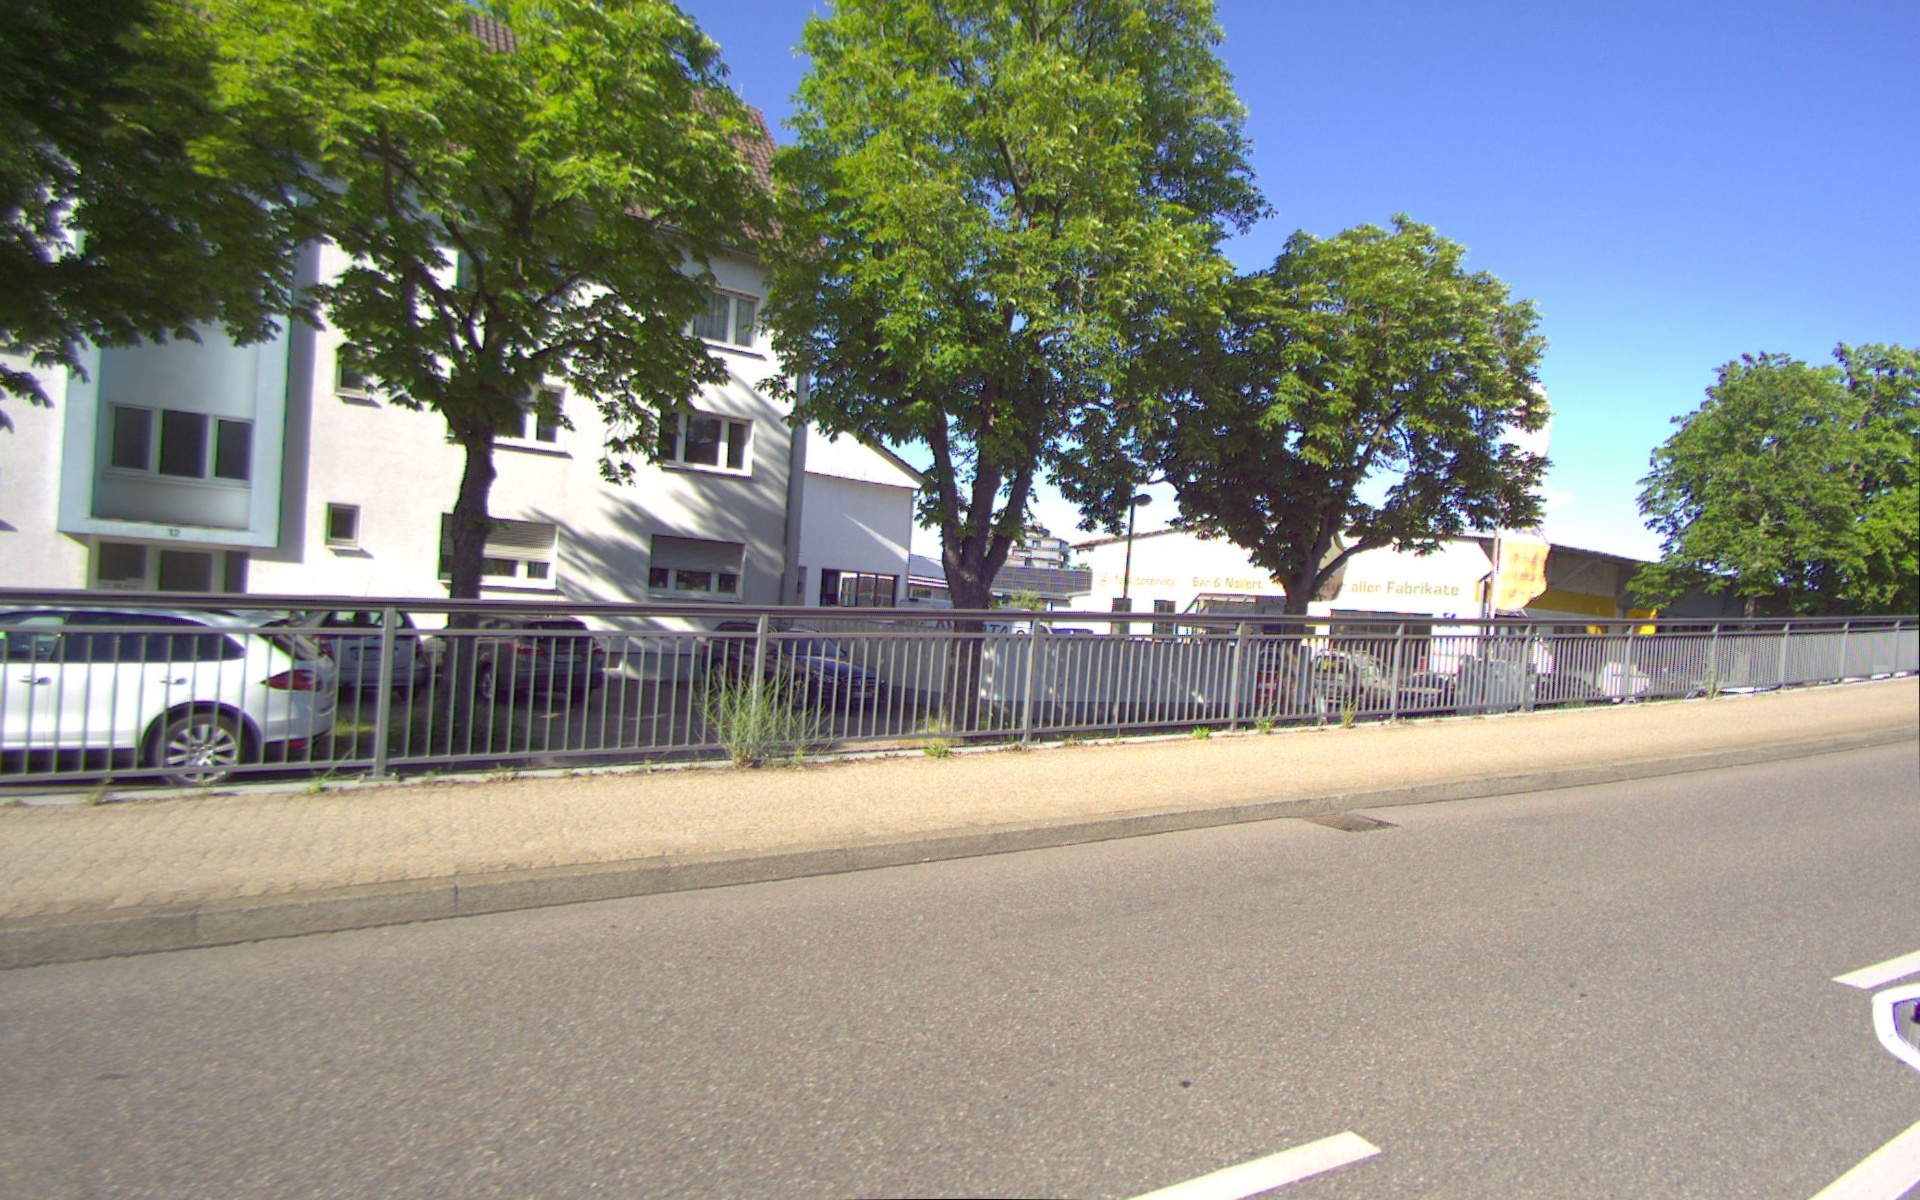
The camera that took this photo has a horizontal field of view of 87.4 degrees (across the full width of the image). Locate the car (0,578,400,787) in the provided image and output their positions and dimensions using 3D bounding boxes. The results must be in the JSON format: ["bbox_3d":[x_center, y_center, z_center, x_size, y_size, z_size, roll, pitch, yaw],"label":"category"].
[{"bbox_3d":[-8.564,0.758,9.932,5.175,1.751,2.028,4,1,-29],"label":"car"}]

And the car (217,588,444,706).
[{"bbox_3d":[-10.192,0.692,16.207,3.608,1.530,1.779,4,1,35],"label":"car"}]

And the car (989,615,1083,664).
[{"bbox_3d":[3.547,1.841,46.521,3.964,2.040,1.979,3,0,-37],"label":"car"}]

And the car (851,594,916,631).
[{"bbox_3d":[-4.525,0.750,60.344,1.960,2.040,5.294,4,0,18],"label":"car"}]

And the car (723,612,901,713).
[{"bbox_3d":[-3.080,1.190,20.234,1.880,1.605,3.972,3,1,-36],"label":"car"}]

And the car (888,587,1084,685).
[{"bbox_3d":[0.892,1.053,30.803,5.835,2.594,2.116,-2,-3,-37],"label":"car"}]

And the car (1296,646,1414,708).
[{"bbox_3d":[13.519,2.603,34.291,3.966,1.876,1.978,3,0,-39],"label":"car"}]

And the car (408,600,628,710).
[{"bbox_3d":[-7.848,0.891,17.724,3.940,1.619,1.991,2,0,40],"label":"car"}]

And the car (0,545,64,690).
[{"bbox_3d":[-15.459,0.081,13.464,4.735,1.956,2.058,4,0,-32],"label":"car"}]

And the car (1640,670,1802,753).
[{"bbox_3d":[21.433,3.113,28.282,4.202,2.017,1.916,3,0,-27],"label":"car"}]

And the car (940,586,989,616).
[{"bbox_3d":[0.357,0.081,74.095,1.960,2.040,5.294,4,0,18],"label":"car"}]
